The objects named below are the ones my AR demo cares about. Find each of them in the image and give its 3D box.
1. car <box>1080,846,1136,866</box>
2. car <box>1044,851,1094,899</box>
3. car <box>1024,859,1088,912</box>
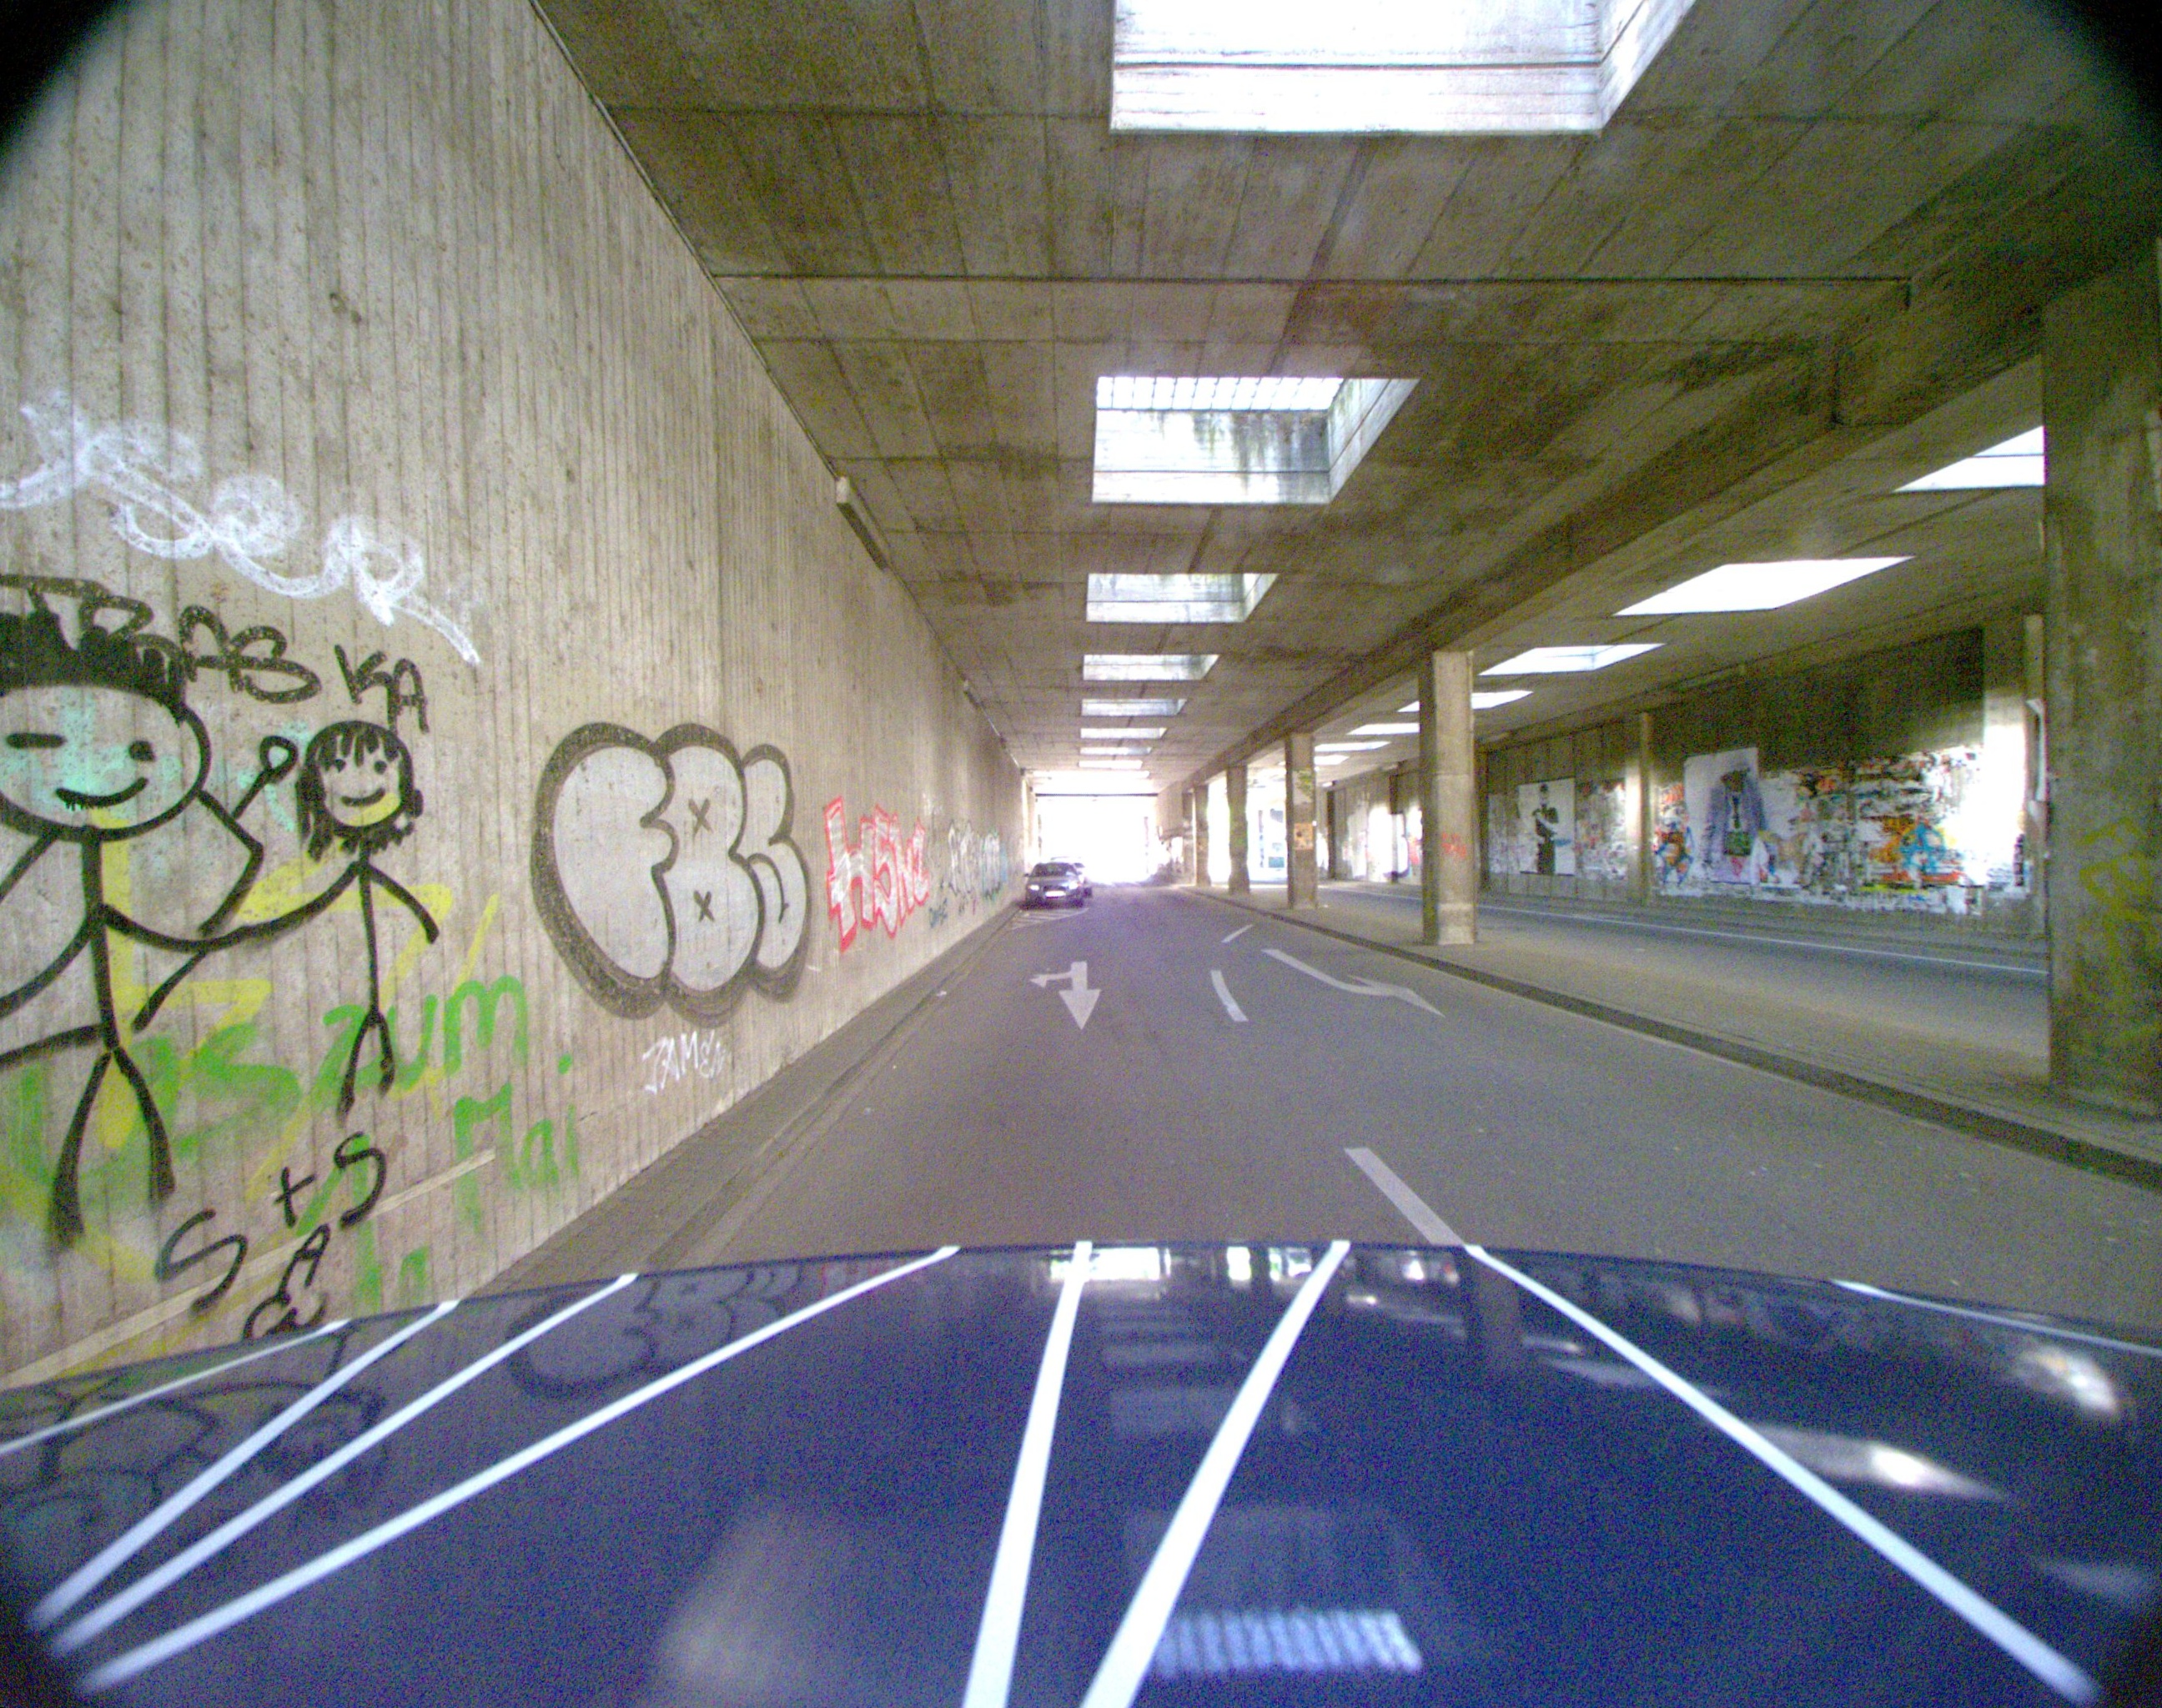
[{"bbox_3d":[2.598,0.177,71.513,4.866,1.740,1.996,-3,1,-28],"label":"car"},{"bbox_3d":[-0.499,0.763,29.796,1.767,1.634,3.999,-2,1,-2],"label":"car"},{"bbox_3d":[-0.712,0.917,24.055,1.767,1.407,3.999,-2,1,1],"label":"car"}]
